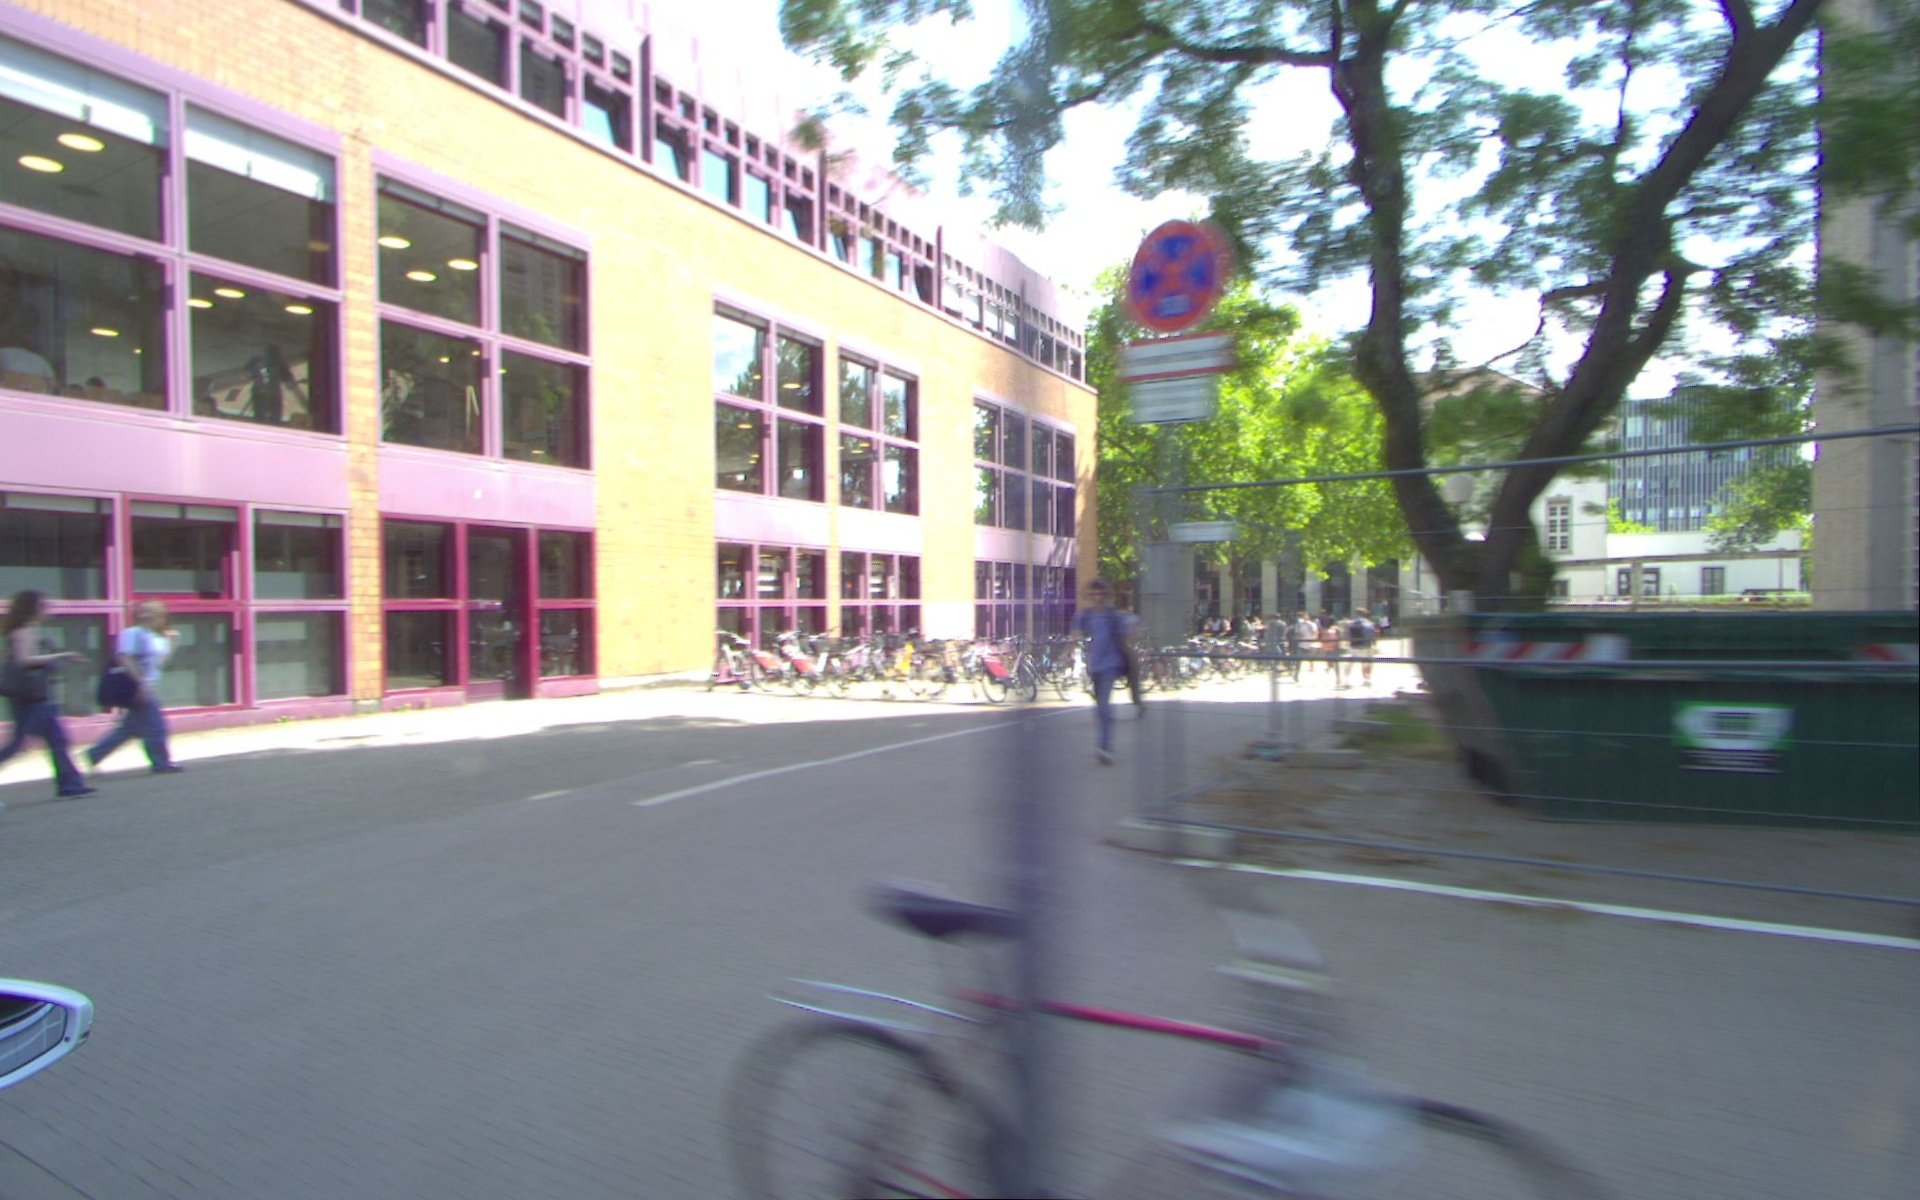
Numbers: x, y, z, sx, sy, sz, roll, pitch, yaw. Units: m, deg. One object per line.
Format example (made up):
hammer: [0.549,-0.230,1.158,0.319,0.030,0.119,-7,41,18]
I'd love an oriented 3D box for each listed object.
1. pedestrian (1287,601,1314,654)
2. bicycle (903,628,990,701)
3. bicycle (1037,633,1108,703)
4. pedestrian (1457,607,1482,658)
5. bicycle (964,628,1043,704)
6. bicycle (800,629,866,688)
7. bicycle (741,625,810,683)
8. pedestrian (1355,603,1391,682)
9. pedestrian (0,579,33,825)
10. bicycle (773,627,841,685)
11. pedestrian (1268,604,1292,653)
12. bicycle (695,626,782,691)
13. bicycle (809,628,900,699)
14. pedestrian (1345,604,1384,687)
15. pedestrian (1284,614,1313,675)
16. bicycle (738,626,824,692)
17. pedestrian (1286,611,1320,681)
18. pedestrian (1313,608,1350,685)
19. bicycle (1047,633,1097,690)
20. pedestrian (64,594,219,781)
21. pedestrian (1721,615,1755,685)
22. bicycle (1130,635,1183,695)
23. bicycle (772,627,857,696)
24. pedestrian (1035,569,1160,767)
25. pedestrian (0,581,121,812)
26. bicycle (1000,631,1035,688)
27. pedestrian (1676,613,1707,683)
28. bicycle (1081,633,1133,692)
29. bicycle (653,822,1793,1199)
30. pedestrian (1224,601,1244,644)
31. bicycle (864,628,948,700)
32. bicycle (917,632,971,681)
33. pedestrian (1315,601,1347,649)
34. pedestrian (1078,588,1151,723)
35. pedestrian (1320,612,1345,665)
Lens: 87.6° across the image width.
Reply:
pedestrian: [12.358,0.999,36.361,0.672,1.846,0.904,-3,-1,9]
bicycle: [-0.195,1.022,16.354,0.516,1.124,1.806,0,-1,33]
bicycle: [1.940,1.132,17.124,0.467,1.124,1.803,0,-1,33]
pedestrian: [17.911,1.146,35.225,0.674,1.750,0.902,-3,-1,25]
bicycle: [0.703,1.010,15.693,0.467,1.124,1.691,0,-1,33]
bicycle: [-2.507,1.133,19.962,0.466,1.124,1.807,0,-1,23]
bicycle: [-3.731,1.076,20.418,0.466,1.124,1.807,0,-1,23]
pedestrian: [9.540,0.970,23.105,0.674,1.750,0.902,-3,-1,25]
pedestrian: [-7.006,0.709,6.838,0.552,1.694,0.883,-1,0,37]
bicycle: [-3.054,1.101,20.145,0.466,1.124,1.807,0,-1,23]
pedestrian: [11.622,1.045,36.380,0.671,1.750,0.905,-1,0,7]
bicycle: [-4.022,1.041,18.296,0.515,1.124,1.808,0,-1,28]
bicycle: [-1.737,1.025,16.748,0.516,1.124,1.806,0,-1,33]
pedestrian: [8.838,0.980,21.881,0.674,1.750,0.902,-3,-1,25]
pedestrian: [10.015,1.308,29.624,0.674,1.750,0.902,-3,-1,25]
bicycle: [-3.200,1.042,18.051,0.515,1.124,1.808,0,-1,28]
pedestrian: [8.740,1.162,25.499,0.673,1.750,0.902,-3,-1,23]
pedestrian: [8.675,1.069,23.384,0.674,1.750,0.902,-3,-1,25]
bicycle: [2.431,1.304,21.565,0.467,1.184,1.806,0,-2,27]
pedestrian: [-7.374,0.741,9.041,0.733,1.563,0.882,1,3,37]
pedestrian: [18.372,1.174,23.663,0.555,1.634,0.530,0,-1,30]
bicycle: [4.106,1.326,20.830,0.467,1.184,1.803,0,-2,33]
bicycle: [-2.480,1.039,17.282,0.515,1.124,1.809,0,-1,26]
pedestrian: [1.261,0.587,9.077,0.694,1.672,1.041,-1,-1,37]
pedestrian: [-7.143,0.711,7.689,0.581,1.694,0.926,-1,0,37]
bicycle: [1.269,1.278,21.940,0.465,1.184,1.811,0,-2,13]
pedestrian: [17.500,1.146,23.959,0.525,1.651,0.560,0,-1,30]
bicycle: [3.126,1.296,21.183,0.467,1.184,1.804,0,-2,30]
bicycle: [0.277,1.001,1.727,1.713,0.975,0.450,-1,3,29]
pedestrian: [12.027,0.987,43.945,0.671,1.846,0.904,-3,-1,8]
bicycle: [-0.862,1.024,16.495,0.516,1.124,1.808,0,-1,29]
bicycle: [-0.384,1.416,25.284,0.467,1.184,1.995,0,-2,28]
pedestrian: [14.646,1.009,39.573,0.674,1.846,0.902,-2,-1,-26]
pedestrian: [2.001,0.698,12.932,0.581,1.672,0.849,-1,-1,37]
pedestrian: [12.622,1.295,33.931,0.672,1.750,0.903,-3,-1,17]
